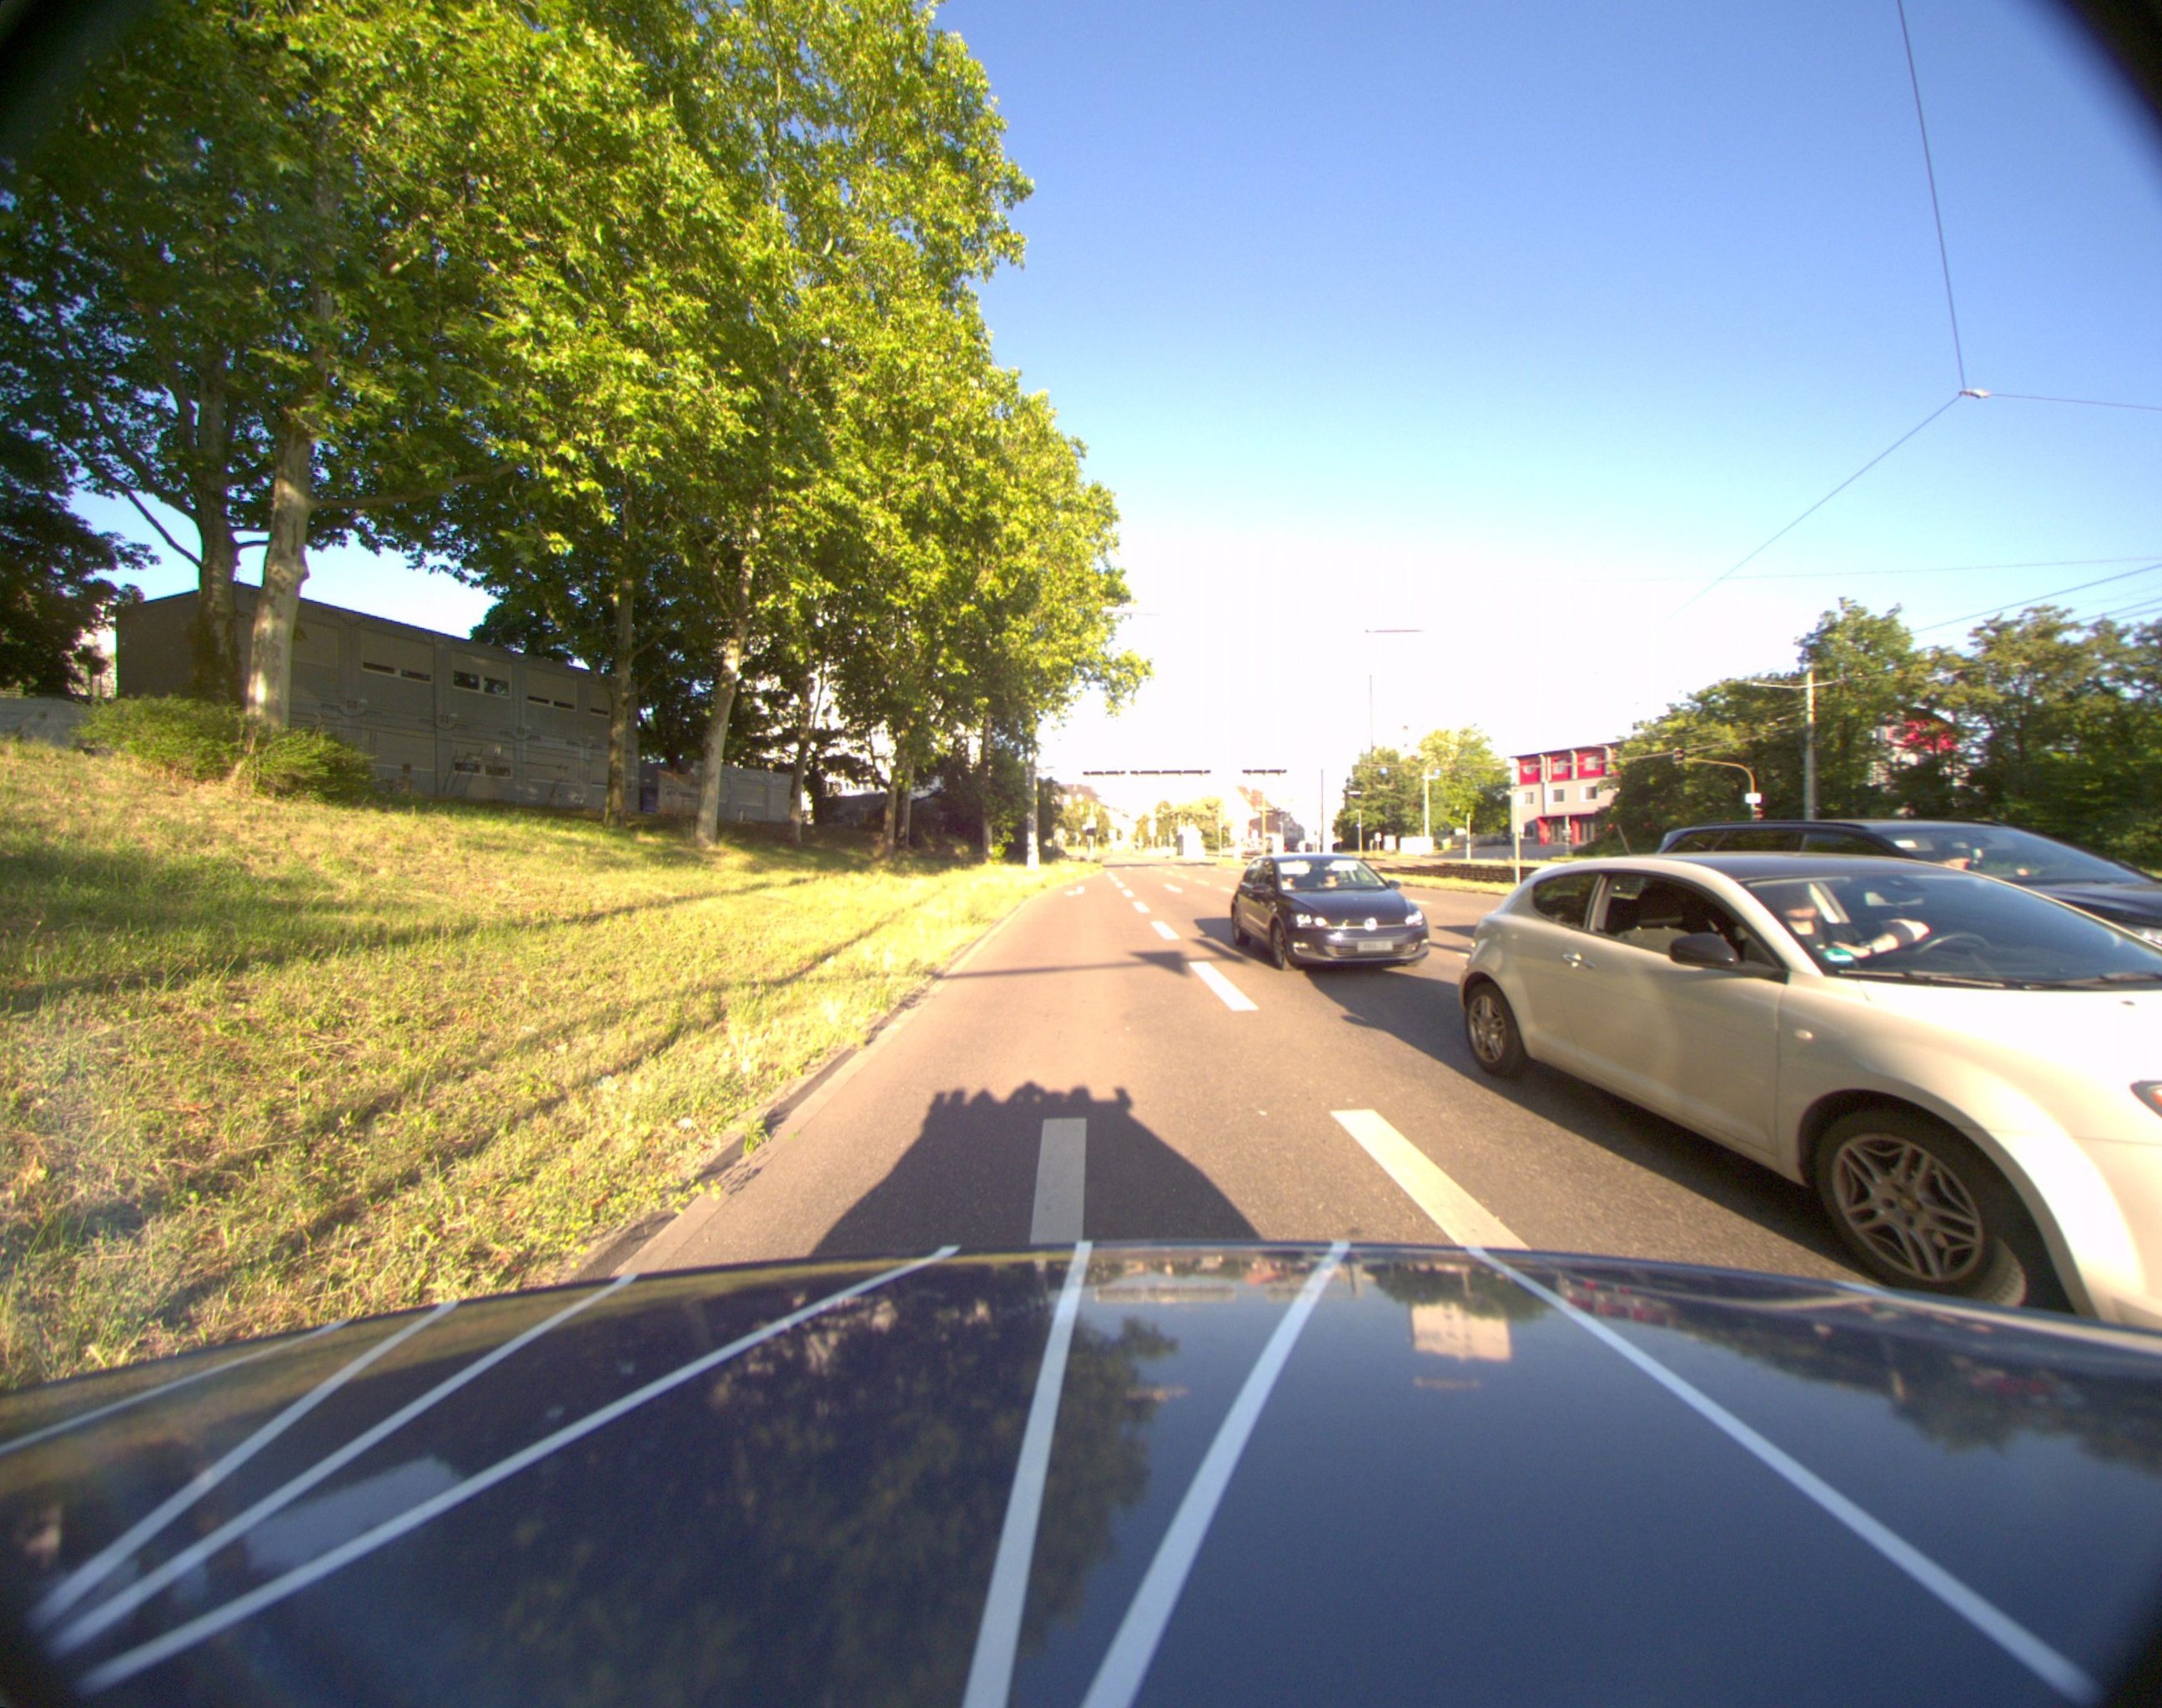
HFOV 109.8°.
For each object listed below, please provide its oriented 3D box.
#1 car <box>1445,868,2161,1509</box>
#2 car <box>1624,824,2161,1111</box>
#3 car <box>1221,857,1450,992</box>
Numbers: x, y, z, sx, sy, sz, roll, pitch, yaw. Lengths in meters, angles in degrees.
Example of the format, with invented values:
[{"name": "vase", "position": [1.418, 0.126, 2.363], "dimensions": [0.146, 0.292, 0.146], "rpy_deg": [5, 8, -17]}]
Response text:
[{"name": "car", "position": [3.420, 0.844, 3.386], "dimensions": [1.665, 1.422, 3.923], "rpy_deg": [-2, 0, -1]}, {"name": "car", "position": [7.227, 0.608, 6.554], "dimensions": [1.920, 1.639, 4.602], "rpy_deg": [-1, 0, 2]}, {"name": "car", "position": [3.201, 0.791, 10.431], "dimensions": [1.782, 1.422, 3.923], "rpy_deg": [-2, 0, -1]}]
